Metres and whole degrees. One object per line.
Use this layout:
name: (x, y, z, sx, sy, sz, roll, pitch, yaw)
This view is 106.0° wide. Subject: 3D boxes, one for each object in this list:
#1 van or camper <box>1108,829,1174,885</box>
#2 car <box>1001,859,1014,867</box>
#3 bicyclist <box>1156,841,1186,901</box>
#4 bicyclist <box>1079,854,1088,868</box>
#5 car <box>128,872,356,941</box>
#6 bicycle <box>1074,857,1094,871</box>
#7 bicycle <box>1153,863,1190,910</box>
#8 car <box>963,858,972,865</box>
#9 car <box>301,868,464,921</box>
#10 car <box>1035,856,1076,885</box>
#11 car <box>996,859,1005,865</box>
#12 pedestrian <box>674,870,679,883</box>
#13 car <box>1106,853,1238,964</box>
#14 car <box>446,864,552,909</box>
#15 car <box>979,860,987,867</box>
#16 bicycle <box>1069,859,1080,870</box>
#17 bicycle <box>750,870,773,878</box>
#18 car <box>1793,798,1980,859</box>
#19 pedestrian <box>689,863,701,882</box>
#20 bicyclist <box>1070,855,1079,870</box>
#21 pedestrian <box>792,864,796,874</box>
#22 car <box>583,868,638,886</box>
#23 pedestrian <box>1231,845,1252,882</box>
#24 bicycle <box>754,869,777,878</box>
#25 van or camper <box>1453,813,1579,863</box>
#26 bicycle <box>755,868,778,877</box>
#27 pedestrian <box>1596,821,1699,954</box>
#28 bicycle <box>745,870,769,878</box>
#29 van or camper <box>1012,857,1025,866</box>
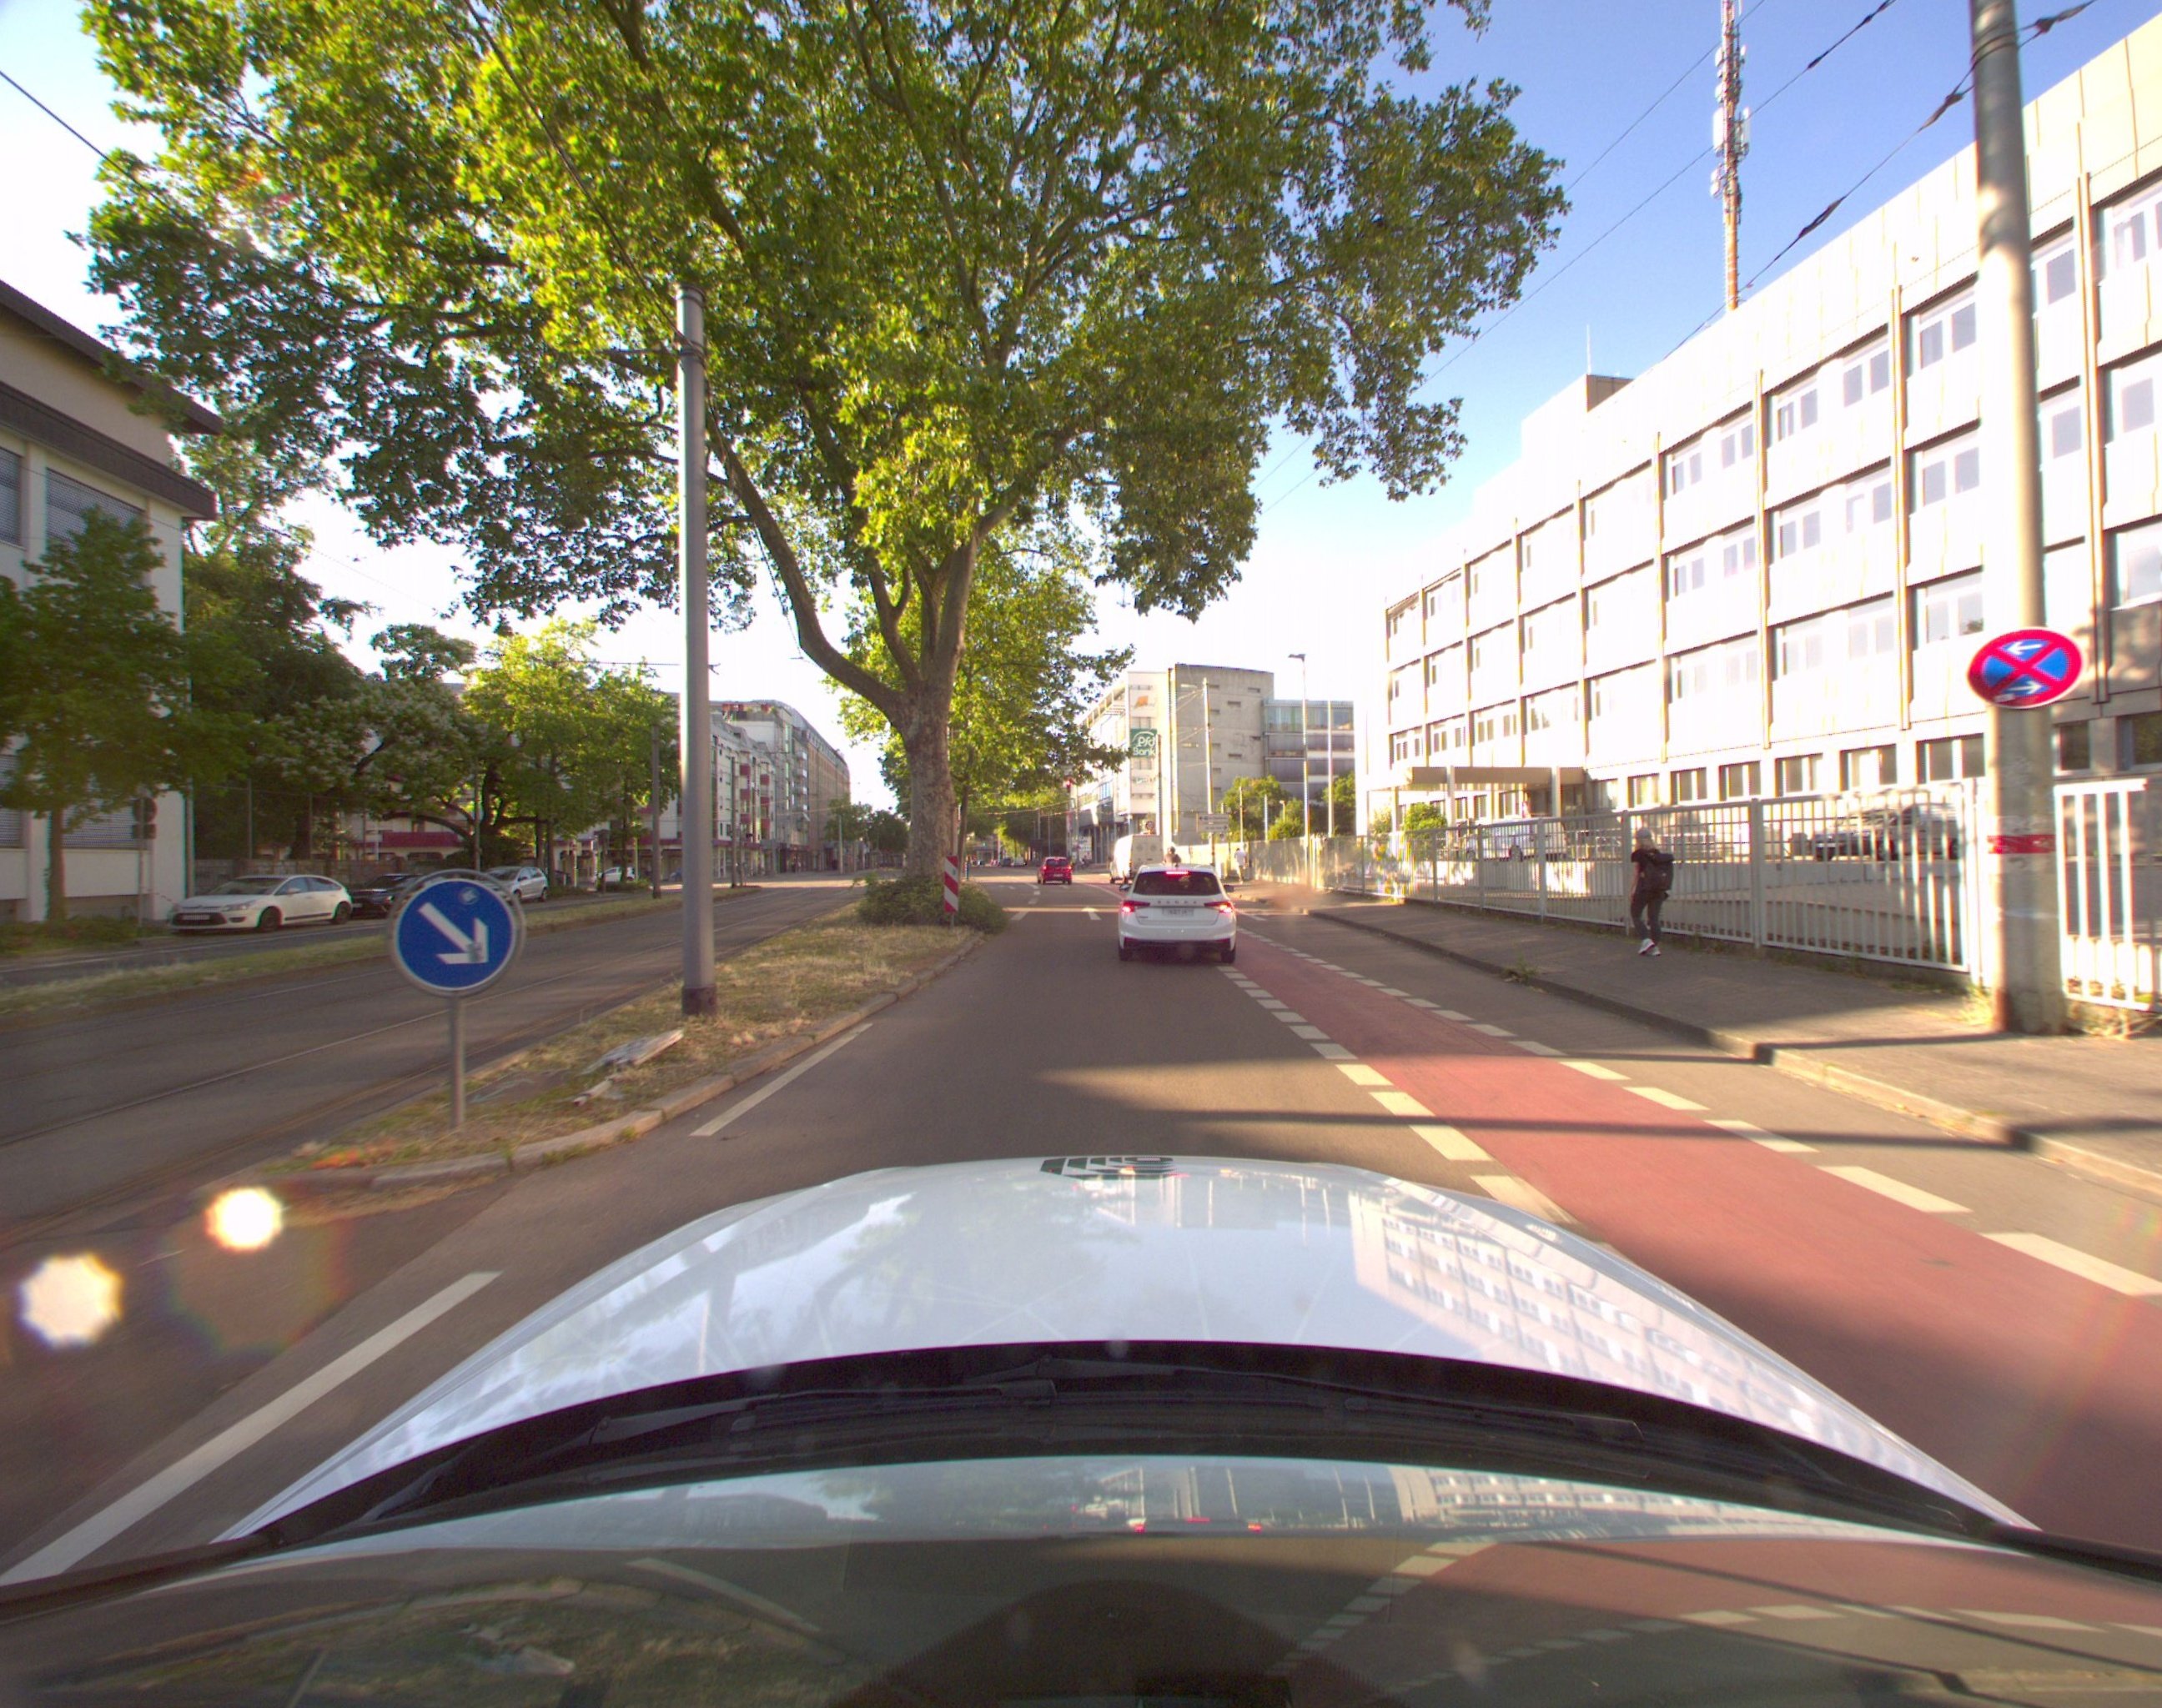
van or camper: (3.110, 0.180, 43.684, 2.267, 2.733, 6.331, 1, 0, -7)
car: (-16.669, 2.011, 183.943, 2.479, 1.528, 4.415, -2, 0, -11)
bicyclist: (2.527, 0.471, 22.872, 0.741, 1.669, 0.744, 0, 0, -2)
bicyclist: (0.274, 0.707, 84.462, 0.609, 1.389, 0.630, -2, 0, -32)
car: (-21.694, 1.286, 21.382, 1.995, 1.471, 4.388, -1, 0, -11)
bicycle: (0.341, 1.043, 84.479, 2.002, 1.379, 0.640, -2, 0, -33)
bicycle: (2.518, 0.876, 22.896, 0.742, 1.224, 2.154, 0, 0, -2)
car: (-28.883, 1.863, 207.322, 2.060, 1.654, 3.475, -2, 0, -14)
car: (-22.688, 1.258, 26.728, 1.995, 1.476, 4.632, -1, 0, -11)
car: (-1.444, 0.857, 44.923, 1.839, 1.489, 3.705, -1, 0, -9)
car: (-20.117, 2.035, 203.581, 1.886, 1.528, 4.413, -2, 0, -12)
pedestrian: (-37.324, 2.056, 75.184, 0.304, 1.214, 0.317, -2, 0, -14)
car: (1.579, 0.755, 13.159, 1.791, 1.501, 3.992, 0, 0, 10)
car: (-24.063, 1.289, 33.854, 1.995, 1.689, 4.162, -1, 0, -11)
car: (-25.062, 2.486, 208.414, 1.658, 1.607, 3.519, -2, 0, -10)
bicycle: (-0.705, 1.188, 90.087, 0.793, 1.161, 2.490, -1, 0, -11)
bicycle: (-33.887, 2.099, 86.318, 2.171, 0.787, 0.490, -2, 0, -13)
car: (24.624, -0.769, 24.958, 4.252, 1.718, 1.987, -1, 0, -10)
pedestrian: (-35.101, 1.679, 74.080, 0.709, 1.662, 1.029, -2, 0, -14)
bicyclist: (-0.705, 0.936, 90.048, 0.785, 1.635, 0.636, -1, 0, -11)
pedestrian: (-41.627, 2.225, 118.170, 0.510, 1.459, 0.526, -2, 0, -11)
car: (-41.877, 2.033, 72.589, 4.002, 1.464, 1.789, -2, 0, -21)
pedestrian: (7.790, 0.471, 39.468, 0.784, 1.748, 0.771, -2, 0, -4)
bicycle: (-33.960, 2.095, 87.679, 2.171, 0.824, 0.525, -2, 0, -13)
van or camper: (18.078, -0.622, 34.190, 1.981, 1.909, 4.982, -2, 0, -10)
bicycle: (-34.106, 2.006, 88.306, 2.171, 0.951, 0.490, -2, 0, -13)
pedestrian: (7.542, 0.426, 10.881, 0.693, 1.684, 0.930, -1, 0, 0)
bicycle: (-34.021, 2.093, 85.526, 2.171, 0.787, 0.638, -2, 0, -13)
van or camper: (-13.040, 1.592, 169.580, 2.147, 1.750, 4.413, -2, 0, -12)
